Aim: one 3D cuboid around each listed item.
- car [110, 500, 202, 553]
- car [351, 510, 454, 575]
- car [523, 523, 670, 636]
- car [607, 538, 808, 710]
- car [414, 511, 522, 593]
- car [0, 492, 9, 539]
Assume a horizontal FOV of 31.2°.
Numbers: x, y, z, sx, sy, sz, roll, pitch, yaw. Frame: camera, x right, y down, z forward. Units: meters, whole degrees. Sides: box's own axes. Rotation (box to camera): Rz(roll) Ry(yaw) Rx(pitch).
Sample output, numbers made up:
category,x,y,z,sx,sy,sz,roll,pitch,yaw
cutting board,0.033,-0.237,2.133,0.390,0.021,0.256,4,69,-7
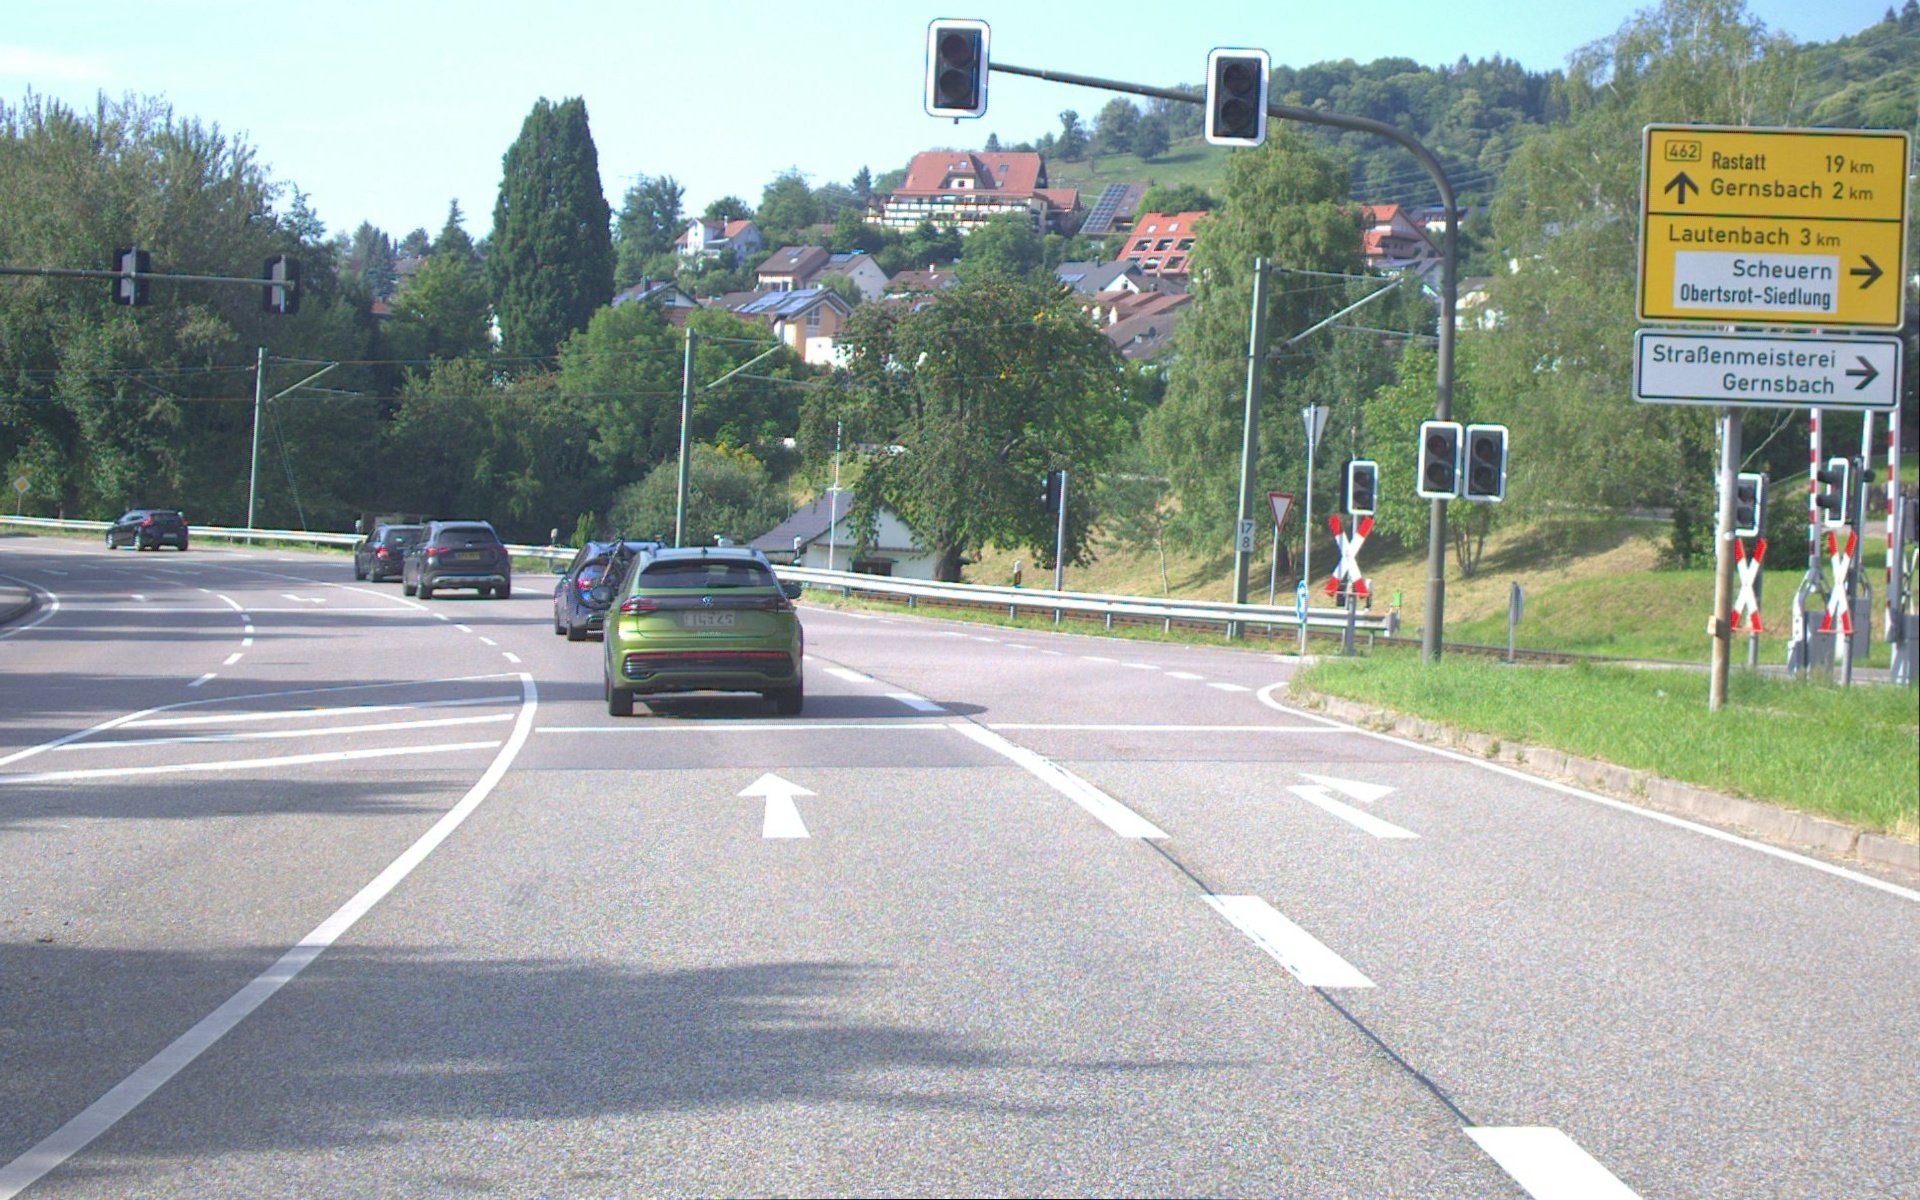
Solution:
category,x,y,z,sx,sy,sz,roll,pitch,yaw
car,-27.793,-2.544,118.827,1.993,1.739,4.000,1,1,-30
car,-14.067,-1.456,86.570,1.848,1.521,3.663,1,2,-20
car,-5.321,-0.330,49.995,1.666,1.554,4.001,1,1,-12
car,-2.292,0.170,31.490,1.714,1.450,4.001,0,1,-4
car,-10.510,-1.032,73.252,1.879,1.681,4.001,1,1,-14
car,-38.878,-3.348,134.206,2.063,1.805,4.000,-1,3,-36
